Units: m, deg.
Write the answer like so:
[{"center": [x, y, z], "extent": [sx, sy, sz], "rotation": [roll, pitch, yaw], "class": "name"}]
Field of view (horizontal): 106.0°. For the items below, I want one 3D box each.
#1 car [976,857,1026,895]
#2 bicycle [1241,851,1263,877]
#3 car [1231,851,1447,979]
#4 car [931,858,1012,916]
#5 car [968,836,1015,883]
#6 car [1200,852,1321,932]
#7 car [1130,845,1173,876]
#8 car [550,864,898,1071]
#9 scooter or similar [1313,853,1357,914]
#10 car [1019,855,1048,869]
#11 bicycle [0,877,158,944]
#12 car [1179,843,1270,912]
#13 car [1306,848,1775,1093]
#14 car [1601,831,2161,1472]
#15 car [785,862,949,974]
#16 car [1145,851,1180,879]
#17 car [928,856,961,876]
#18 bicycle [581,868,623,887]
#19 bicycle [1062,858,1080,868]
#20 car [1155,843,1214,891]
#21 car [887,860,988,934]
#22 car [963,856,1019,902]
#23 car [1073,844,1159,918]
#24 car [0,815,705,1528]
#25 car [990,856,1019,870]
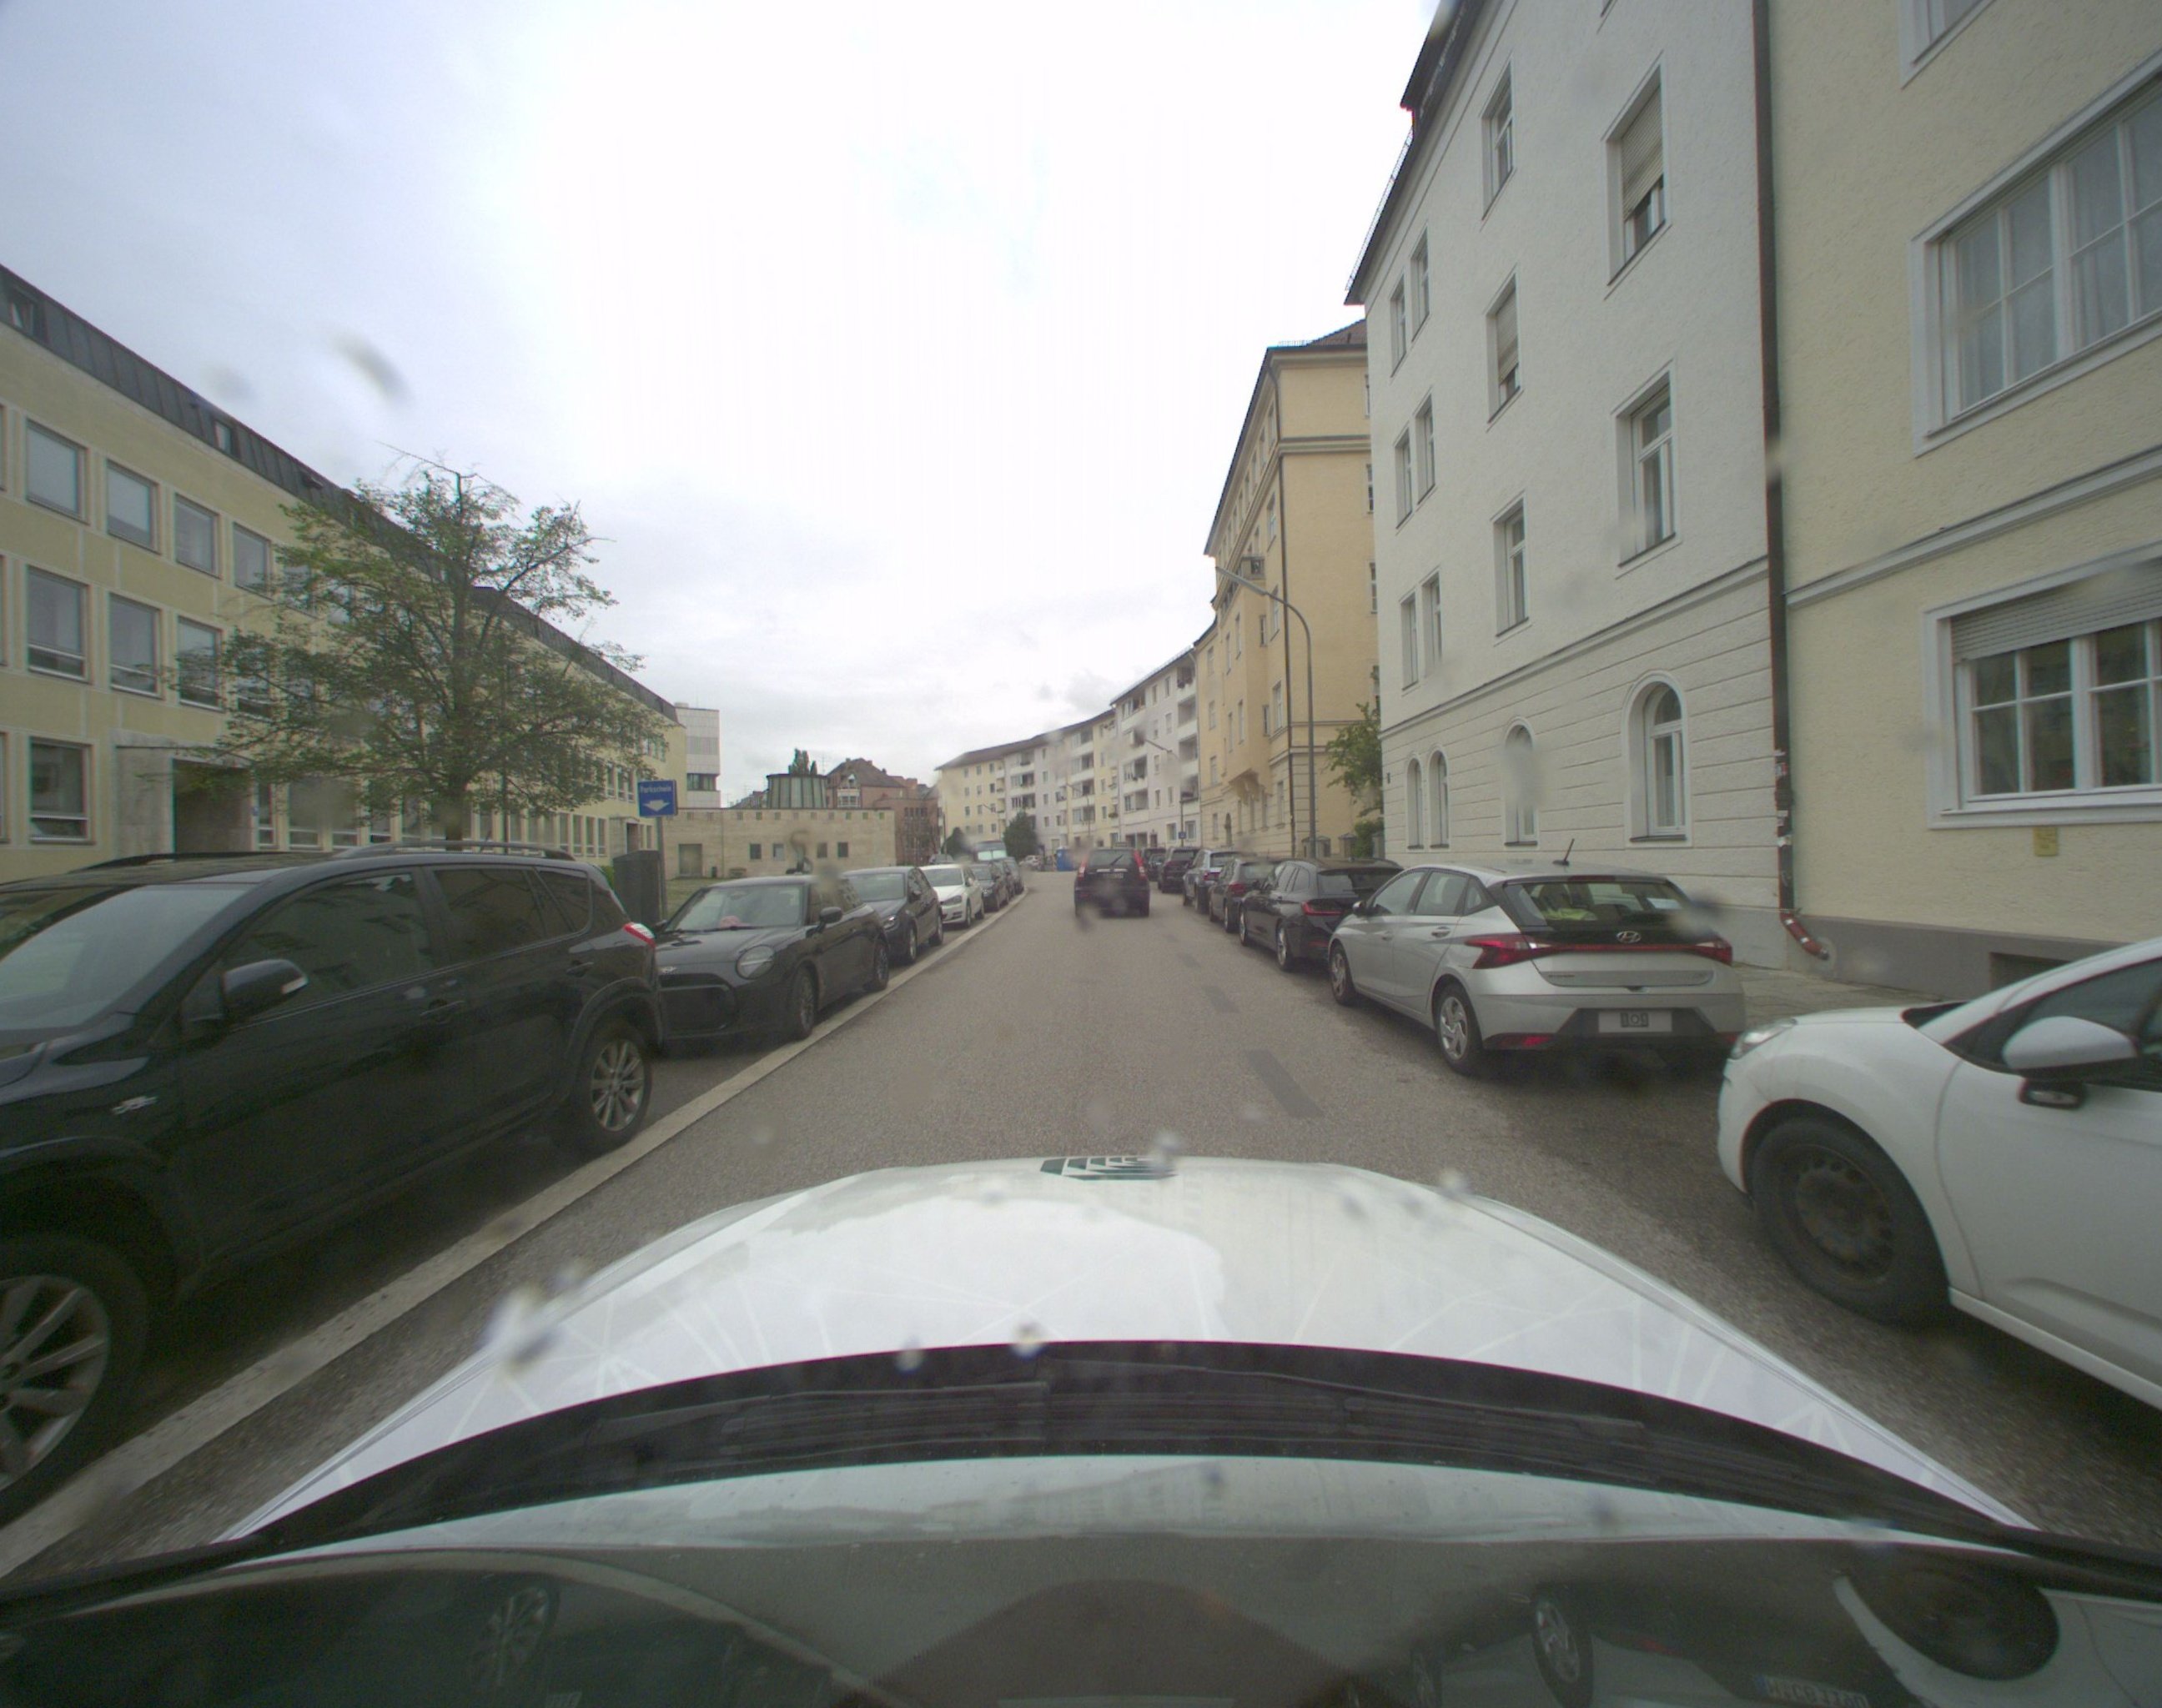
[{"center": [-3.299, 0.868, 34.362], "extent": [1.795, 1.406, 4.450], "rotation": [-3, 0, -3], "class": "car"}, {"center": [7.689, 0.440, 36.658], "extent": [0.577, 1.083, 1.954], "rotation": [-4, 0, 2], "class": "bicycle"}, {"center": [3.383, 0.713, 11.579], "extent": [1.673, 1.427, 4.391], "rotation": [-2, 0, 0], "class": "car"}, {"center": [-3.174, 0.904, 24.466], "extent": [1.749, 1.453, 4.395], "rotation": [-3, 0, 0], "class": "car"}, {"center": [-5.653, 0.312, 50.607], "extent": [2.166, 2.641, 5.992], "rotation": [-3, 0, -12], "class": "car"}, {"center": [3.577, 0.697, 16.920], "extent": [1.673, 1.427, 4.088], "rotation": [-2, 0, 1], "class": "car"}, {"center": [4.171, 0.365, 49.001], "extent": [1.776, 1.807, 4.266], "rotation": [0, 0, -7], "class": "car"}, {"center": [-3.205, 0.903, 8.255], "extent": [1.674, 1.453, 3.870], "rotation": [-3, 0, 1], "class": "car"}, {"center": [5.038, 0.573, 16.202], "extent": [0.483, 1.164, 1.172], "rotation": [-1, -1, -1], "class": "scooter or similar"}, {"center": [-5.023, 0.833, 85.843], "extent": [1.733, 1.483, 3.966], "rotation": [-1, 0, -26], "class": "car"}, {"center": [-21.276, 1.160, 17.004], "extent": [2.439, 1.248, 1.051], "rotation": [-2, 0, -16], "class": "bicycle"}, {"center": [3.752, 0.575, 21.986], "extent": [1.716, 1.634, 4.458], "rotation": [-2, 0, 1], "class": "car"}, {"center": [3.349, 0.708, 6.997], "extent": [1.673, 1.427, 4.167], "rotation": [-2, 0, 0], "class": "car"}, {"center": [3.321, 0.670, 1.803], "extent": [1.673, 1.481, 4.167], "rotation": [-2, 0, 0], "class": "car"}, {"center": [-3.346, 0.919, 13.499], "extent": [1.652, 1.453, 3.972], "rotation": [-3, 0, -1], "class": "car"}, {"center": [4.336, 0.577, 43.914], "extent": [1.701, 1.447, 3.832], "rotation": [0, 0, 3], "class": "car"}, {"center": [-12.234, 1.055, 72.737], "extent": [1.687, 1.707, 4.475], "rotation": [-1, 0, -25], "class": "car"}, {"center": [-27.860, 1.352, 47.386], "extent": [1.949, 1.014, 0.623], "rotation": [-2, 0, -13], "class": "bicycle"}, {"center": [-1.091, 0.952, 88.670], "extent": [1.872, 1.091, 0.562], "rotation": [-1, 0, -20], "class": "bicycle"}, {"center": [3.966, 0.480, 31.920], "extent": [1.862, 1.717, 4.868], "rotation": [0, 0, 2], "class": "car"}, {"center": [-3.268, 0.922, 19.296], "extent": [1.652, 1.453, 4.071], "rotation": [-3, 0, -1], "class": "car"}, {"center": [-3.204, 0.856, 29.529], "extent": [1.652, 1.453, 3.310], "rotation": [-3, 0, -1], "class": "car"}, {"center": [0.788, 0.637, 20.716], "extent": [1.886, 1.647, 3.988], "rotation": [-2, 0, -2], "class": "car"}, {"center": [-3.422, 0.810, 3.072], "extent": [1.738, 1.666, 4.450], "rotation": [-5, 0, 1], "class": "car"}, {"center": [-8.932, 1.050, 94.792], "extent": [1.736, 1.483, 3.959], "rotation": [-1, 0, -32], "class": "car"}]
